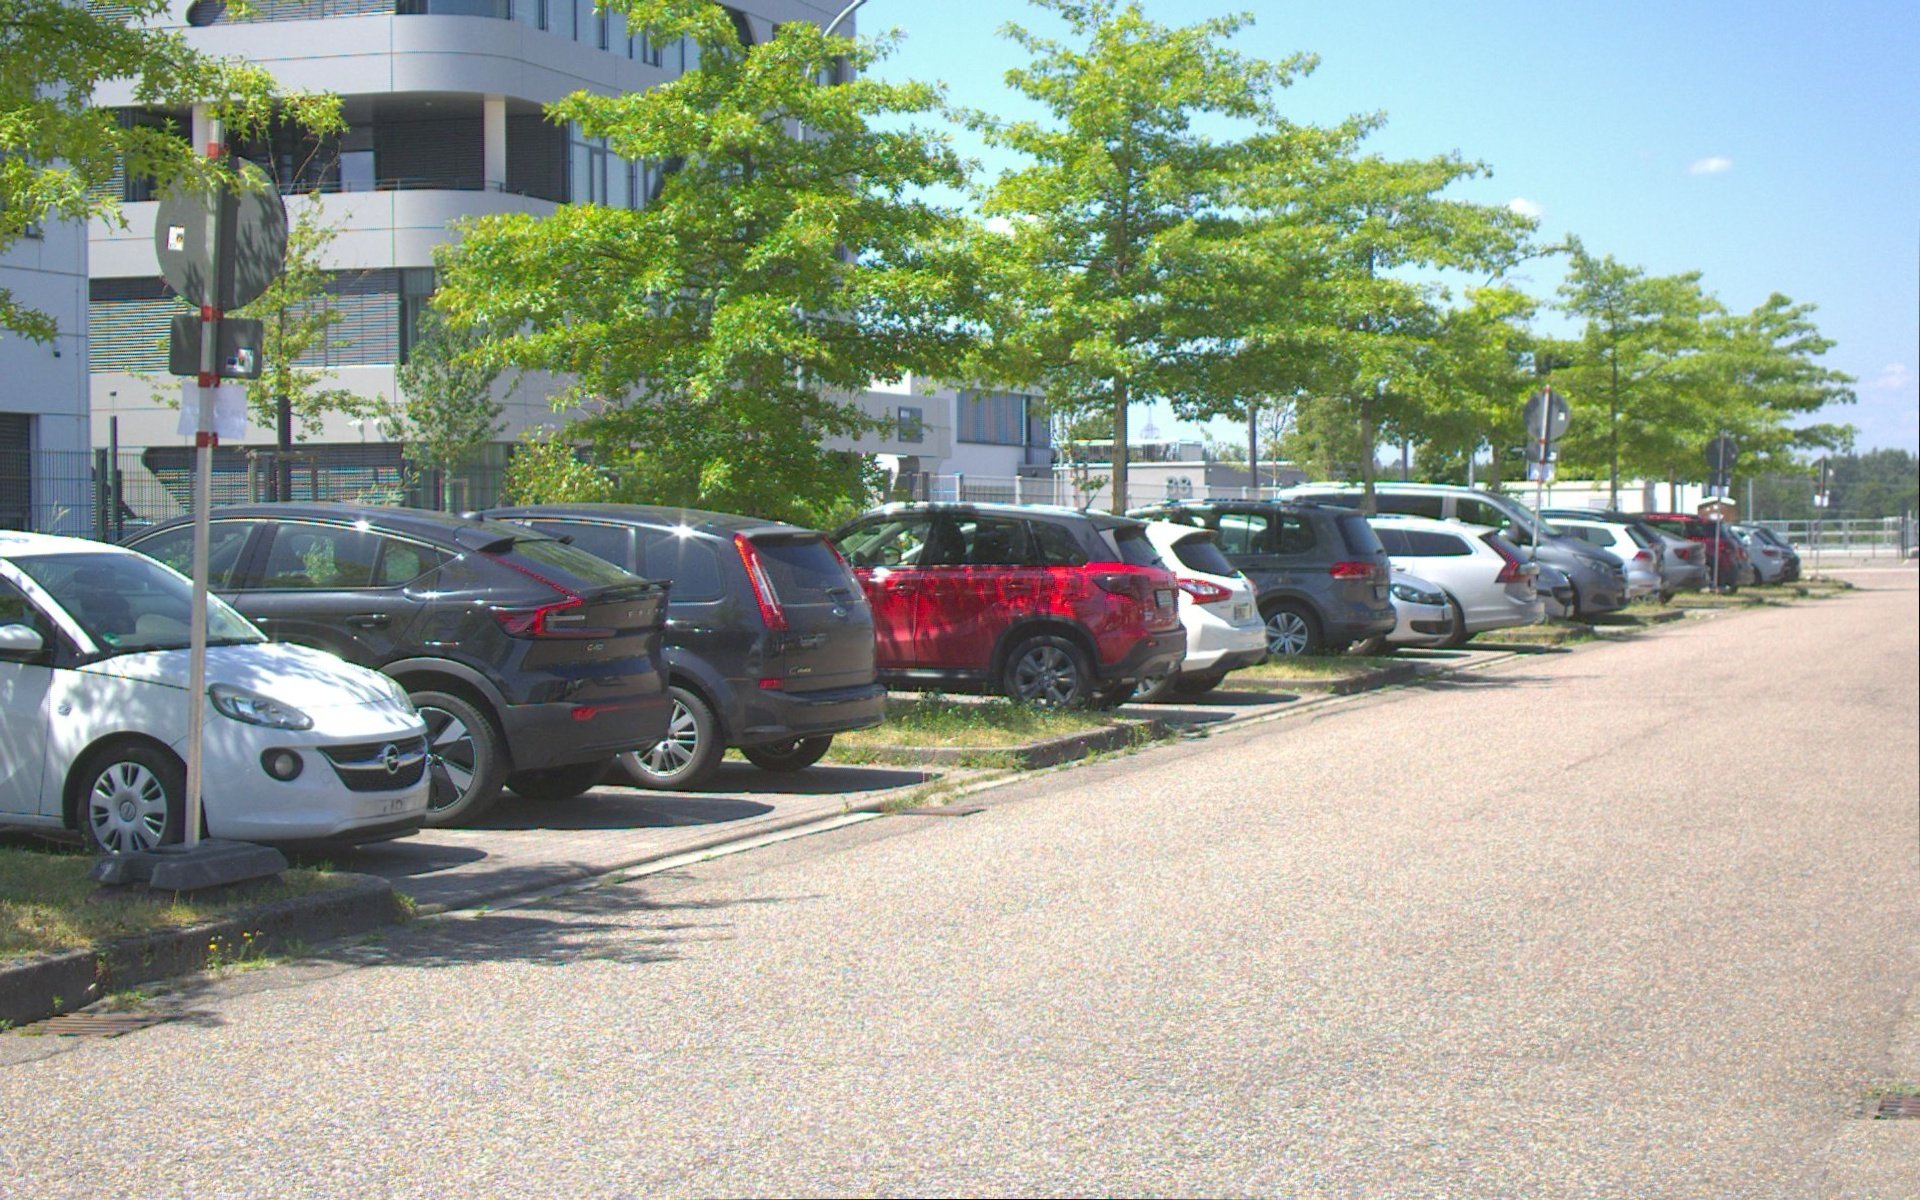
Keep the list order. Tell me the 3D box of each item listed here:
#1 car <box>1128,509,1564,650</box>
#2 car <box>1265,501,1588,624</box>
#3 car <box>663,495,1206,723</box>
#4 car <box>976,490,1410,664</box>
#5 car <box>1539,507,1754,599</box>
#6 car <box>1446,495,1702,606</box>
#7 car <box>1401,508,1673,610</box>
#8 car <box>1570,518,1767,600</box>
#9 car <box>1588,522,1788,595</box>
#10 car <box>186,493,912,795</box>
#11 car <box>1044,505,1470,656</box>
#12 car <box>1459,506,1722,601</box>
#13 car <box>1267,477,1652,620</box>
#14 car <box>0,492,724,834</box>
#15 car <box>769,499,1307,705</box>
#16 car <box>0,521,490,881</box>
[{"bbox_3d":[4.456,-0.271,39.610,4.717,1.442,1.856,2,2,16],"label":"car"},{"bbox_3d":[6.251,-0.525,46.046,3.973,1.479,1.762,2,2,19],"label":"car"},{"bbox_3d":[-0.180,0.024,26.616,3.842,1.586,1.726,2,2,17],"label":"car"},{"bbox_3d":[2.410,-0.271,35.394,4.121,1.629,1.726,2,2,18],"label":"car"},{"bbox_3d":[13.028,-0.903,65.213,3.741,1.616,1.815,2,2,20],"label":"car"},{"bbox_3d":[10.132,-0.835,56.683,3.990,1.672,1.776,2,2,14],"label":"car"},{"bbox_3d":[9.154,-0.658,54.475,4.040,1.456,1.603,2,2,16],"label":"car"},{"bbox_3d":[13.957,-0.822,67.658,3.659,1.503,1.730,2,2,15],"label":"car"},{"bbox_3d":[15.714,-0.911,74.175,4.078,1.419,1.872,2,2,16],"label":"car"},{"bbox_3d":[-2.429,0.201,20.460,3.910,1.586,1.726,2,2,19],"label":"car"},{"bbox_3d":[3.241,-0.242,37.353,4.314,1.468,1.726,2,2,17],"label":"car"},{"bbox_3d":[10.866,-0.818,59.238,4.197,1.475,1.711,2,2,20],"label":"car"},{"bbox_3d":[7.104,-0.759,48.848,5.075,1.885,1.995,2,2,21],"label":"car"},{"bbox_3d":[-3.382,0.266,18.204,3.841,1.588,1.828,2,2,16],"label":"car"},{"bbox_3d":[0.669,-0.030,29.177,4.176,1.508,1.805,2,3,21],"label":"car"},{"bbox_3d":[-4.144,0.384,15.803,3.508,1.436,1.726,2,2,19],"label":"car"}]
